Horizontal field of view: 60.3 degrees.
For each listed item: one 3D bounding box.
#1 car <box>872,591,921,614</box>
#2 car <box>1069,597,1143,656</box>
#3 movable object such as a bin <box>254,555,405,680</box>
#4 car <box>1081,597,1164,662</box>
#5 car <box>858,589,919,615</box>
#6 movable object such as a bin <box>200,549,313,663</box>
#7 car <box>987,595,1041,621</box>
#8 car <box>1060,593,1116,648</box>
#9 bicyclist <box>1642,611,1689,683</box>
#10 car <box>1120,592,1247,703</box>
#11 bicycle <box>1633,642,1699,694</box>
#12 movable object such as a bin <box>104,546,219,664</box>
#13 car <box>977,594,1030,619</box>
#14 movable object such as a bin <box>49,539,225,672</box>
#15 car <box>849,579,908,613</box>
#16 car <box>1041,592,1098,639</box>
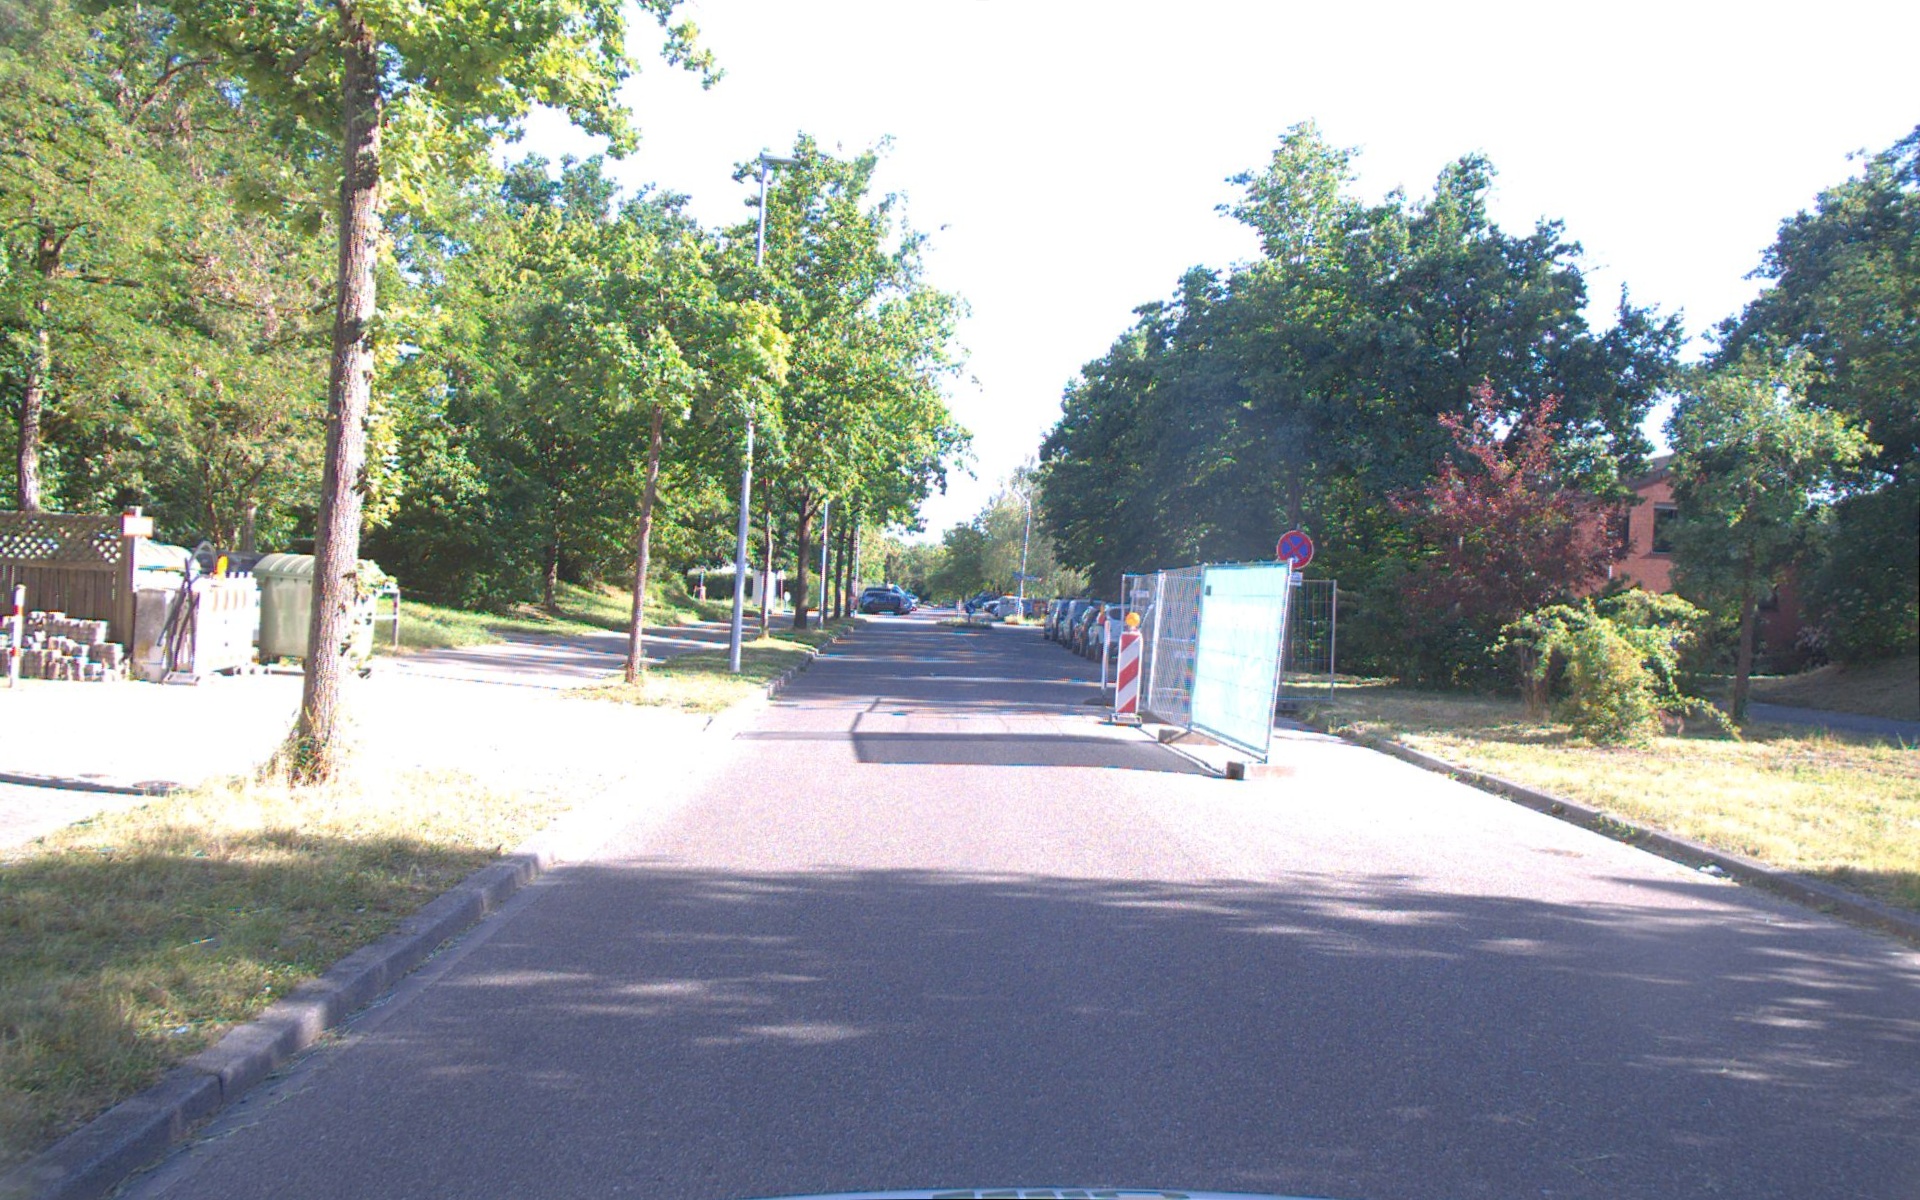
[{"bbox_3d":[-5.437,0.233,141.683,4.023,1.604,1.959,4,0,1],"label":"car"},{"bbox_3d":[4.592,0.802,52.478,1.740,1.649,4.063,4,0,-2],"label":"car"},{"bbox_3d":[-7.831,0.205,20.589,1.242,1.460,1.182,2,0,15],"label":"movable object such as a bin"},{"bbox_3d":[4.573,0.801,47.125,1.740,1.649,4.063,4,0,-2],"label":"car"},{"bbox_3d":[-5.391,0.141,125.380,4.228,1.604,2.047,4,0,6],"label":"car"},{"bbox_3d":[-9.450,0.075,22.205,1.131,1.460,1.258,2,0,-34],"label":"movable object such as a bin"},{"bbox_3d":[3.939,0.593,121.011,3.758,1.604,1.689,4,0,6],"label":"car"},{"bbox_3d":[4.641,0.727,60.362,1.590,1.803,3.668,4,0,-1],"label":"car"},{"bbox_3d":[15.641,1.031,36.687,0.619,1.526,0.840,3,0,-2],"label":"bicyclist"},{"bbox_3d":[3.869,0.787,29.221,1.772,1.679,4.422,4,0,3],"label":"car"},{"bbox_3d":[15.615,1.494,36.610,0.619,1.058,1.784,3,0,-2],"label":"bicycle"},{"bbox_3d":[-10.330,0.058,21.385,1.131,1.460,1.258,2,0,-34],"label":"movable object such as a bin"},{"bbox_3d":[3.260,0.491,123.825,3.758,1.604,1.689,4,0,6],"label":"car"},{"bbox_3d":[-9.614,0.058,19.349,1.245,1.460,1.324,2,0,27],"label":"movable object such as a bin"},{"bbox_3d":[-7.450,-0.368,150.596,5.100,2.666,2.291,4,0,-6],"label":"car"},{"bbox_3d":[4.706,0.633,71.624,1.756,1.816,4.553,4,0,-4],"label":"car"}]
